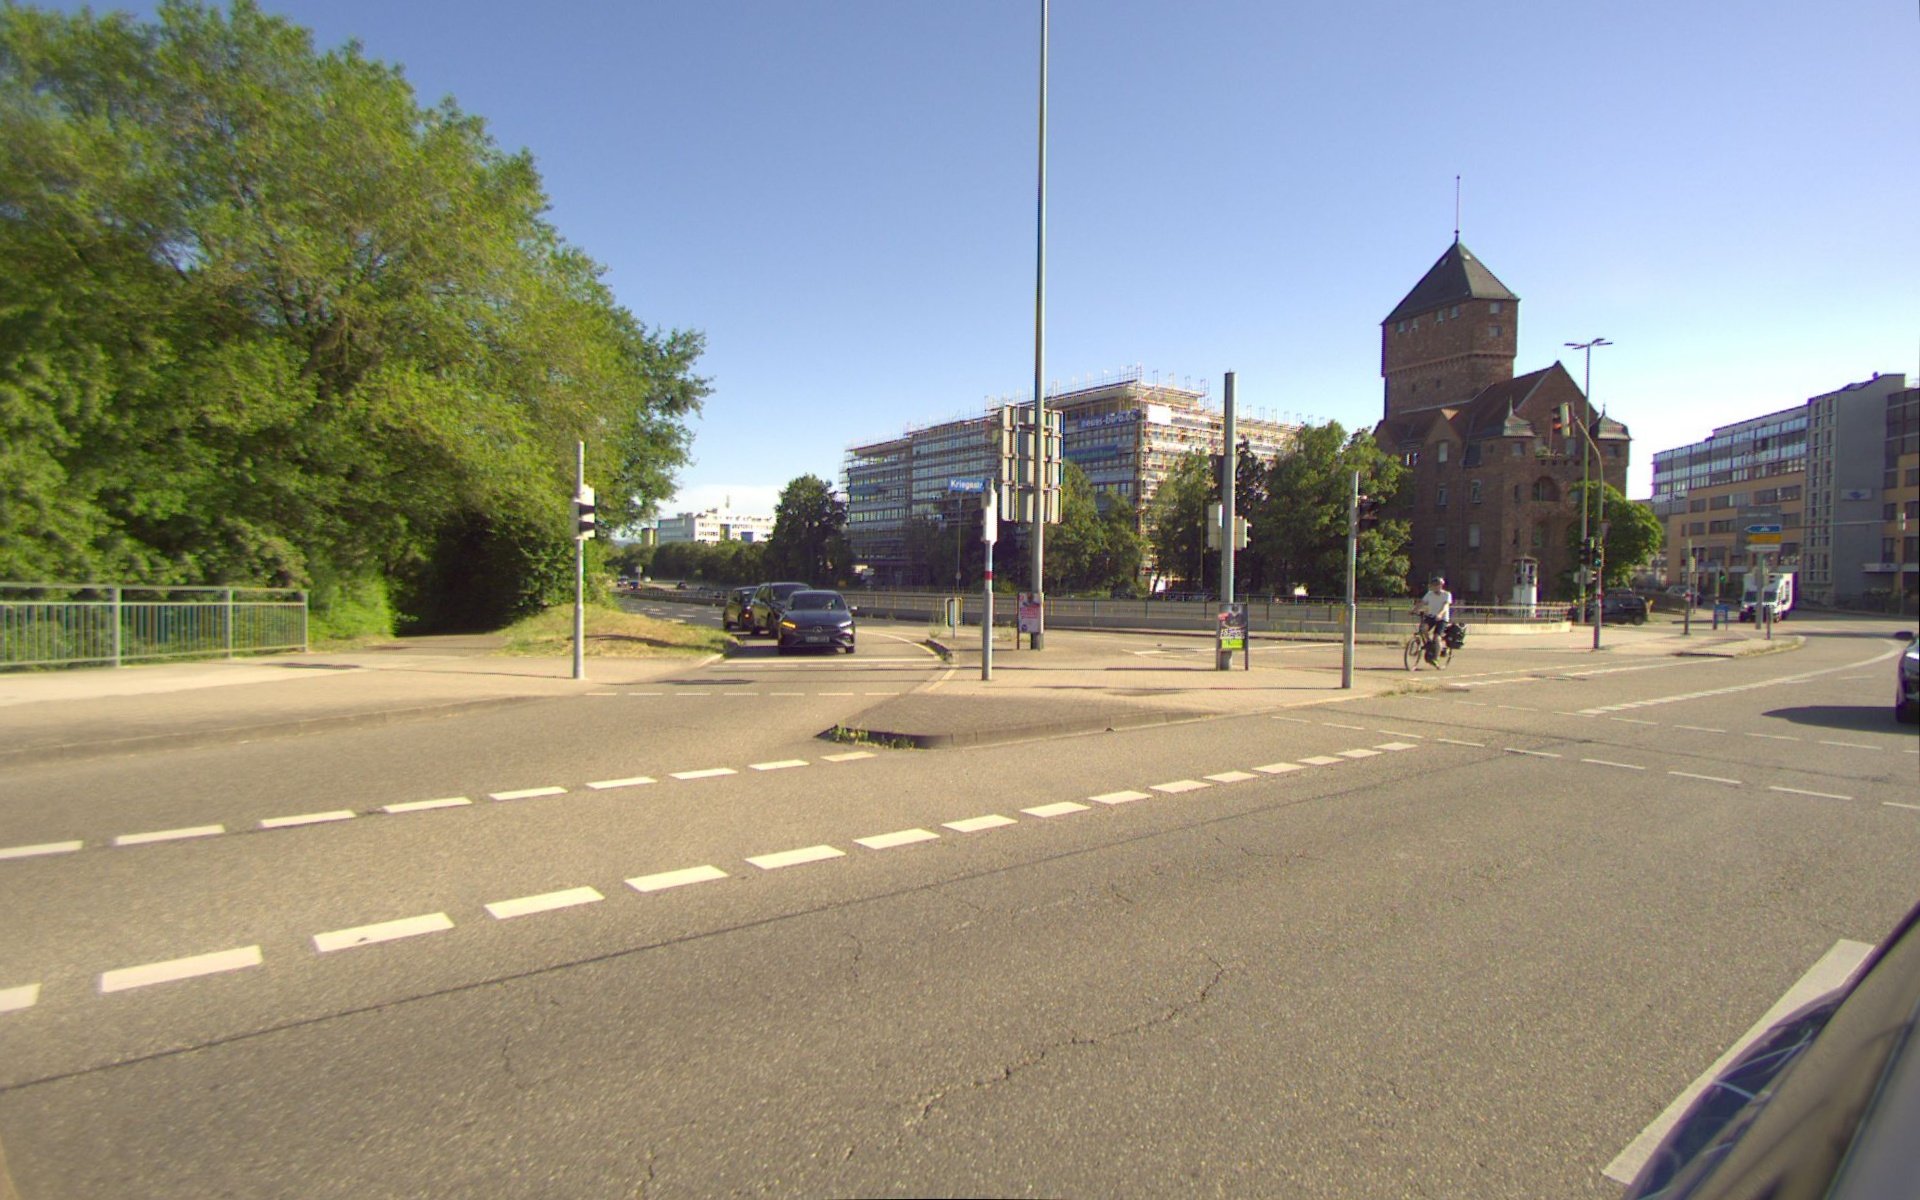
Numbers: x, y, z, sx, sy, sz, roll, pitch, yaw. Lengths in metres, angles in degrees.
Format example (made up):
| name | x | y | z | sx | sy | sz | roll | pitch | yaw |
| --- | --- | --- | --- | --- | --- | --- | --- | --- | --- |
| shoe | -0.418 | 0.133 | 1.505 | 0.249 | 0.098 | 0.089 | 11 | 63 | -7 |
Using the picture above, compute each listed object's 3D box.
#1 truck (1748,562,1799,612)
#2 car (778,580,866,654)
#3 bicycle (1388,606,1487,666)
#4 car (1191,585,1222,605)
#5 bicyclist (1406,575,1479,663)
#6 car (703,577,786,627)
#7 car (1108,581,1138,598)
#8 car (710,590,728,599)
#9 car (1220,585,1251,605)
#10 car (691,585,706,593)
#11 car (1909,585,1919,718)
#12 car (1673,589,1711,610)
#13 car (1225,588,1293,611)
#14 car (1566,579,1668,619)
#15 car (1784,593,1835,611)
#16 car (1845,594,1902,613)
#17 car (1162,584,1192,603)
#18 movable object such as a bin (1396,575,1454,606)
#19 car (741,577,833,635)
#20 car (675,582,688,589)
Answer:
| name | x | y | z | sx | sy | sz | roll | pitch | yaw |
| --- | --- | --- | --- | --- | --- | --- | --- | --- | --- |
| truck | 54.240 | -0.919 | 67.526 | 2.492 | 3.167 | 6.863 | 2 | 2 | 39 |
| car | -3.401 | 0.336 | 24.287 | 1.822 | 1.571 | 4.253 | 1 | 1 | -11 |
| bicycle | 9.406 | 0.688 | 19.945 | 1.788 | 1.116 | 0.695 | 0 | 0 | -20 |
| car | 20.812 | -0.466 | 85.471 | 1.977 | 1.581 | 3.753 | 2 | 1 | 23 |
| bicyclist | 9.520 | 0.358 | 19.977 | 1.089 | 1.680 | 0.728 | 0 | 0 | -20 |
| car | -7.919 | 0.018 | 36.837 | 1.823 | 1.636 | 4.686 | 1 | 1 | -27 |
| car | 15.398 | -0.993 | 95.648 | 1.977 | 1.472 | 3.753 | 2 | 1 | 23 |
| car | -41.078 | -0.938 | 172.341 | 1.960 | 1.415 | 4.006 | -2 | 2 | -28 |
| car | 22.517 | -0.441 | 82.767 | 1.977 | 1.581 | 3.753 | 2 | 1 | 23 |
| car | -49.930 | -2.189 | 193.117 | 1.960 | 1.415 | 4.006 | -2 | 2 | -28 |
| car | 13.927 | 0.645 | 13.212 | 4.125 | 1.641 | 1.877 | -1 | 2 | -42 |
| car | 66.787 | -0.085 | 92.397 | 1.738 | 1.781 | 4.750 | 1 | 1 | 22 |
| car | 21.706 | -0.032 | 73.672 | 1.844 | 1.489 | 4.638 | 0 | 2 | -34 |
| car | 39.902 | -0.067 | 61.568 | 4.708 | 2.289 | 1.946 | 1 | 1 | 10 |
| car | 79.937 | 0.150 | 95.305 | 1.851 | 1.542 | 4.148 | 1 | 1 | 11 |
| car | 78.821 | 0.286 | 87.378 | 1.612 | 1.542 | 4.151 | 1 | 1 | 9 |
| car | 19.078 | -0.614 | 88.880 | 1.977 | 1.581 | 3.753 | 2 | 1 | 23 |
| movable object such as a bin | 37.399 | -0.766 | 81.503 | 1.958 | 2.439 | 4.009 | 0 | 1 | -22 |
| car | -5.476 | 0.137 | 31.613 | 1.822 | 1.636 | 4.688 | 1 | 1 | -22 |
| car | -59.902 | -3.188 | 217.646 | 1.960 | 1.415 | 4.006 | -2 | 2 | -28 |
